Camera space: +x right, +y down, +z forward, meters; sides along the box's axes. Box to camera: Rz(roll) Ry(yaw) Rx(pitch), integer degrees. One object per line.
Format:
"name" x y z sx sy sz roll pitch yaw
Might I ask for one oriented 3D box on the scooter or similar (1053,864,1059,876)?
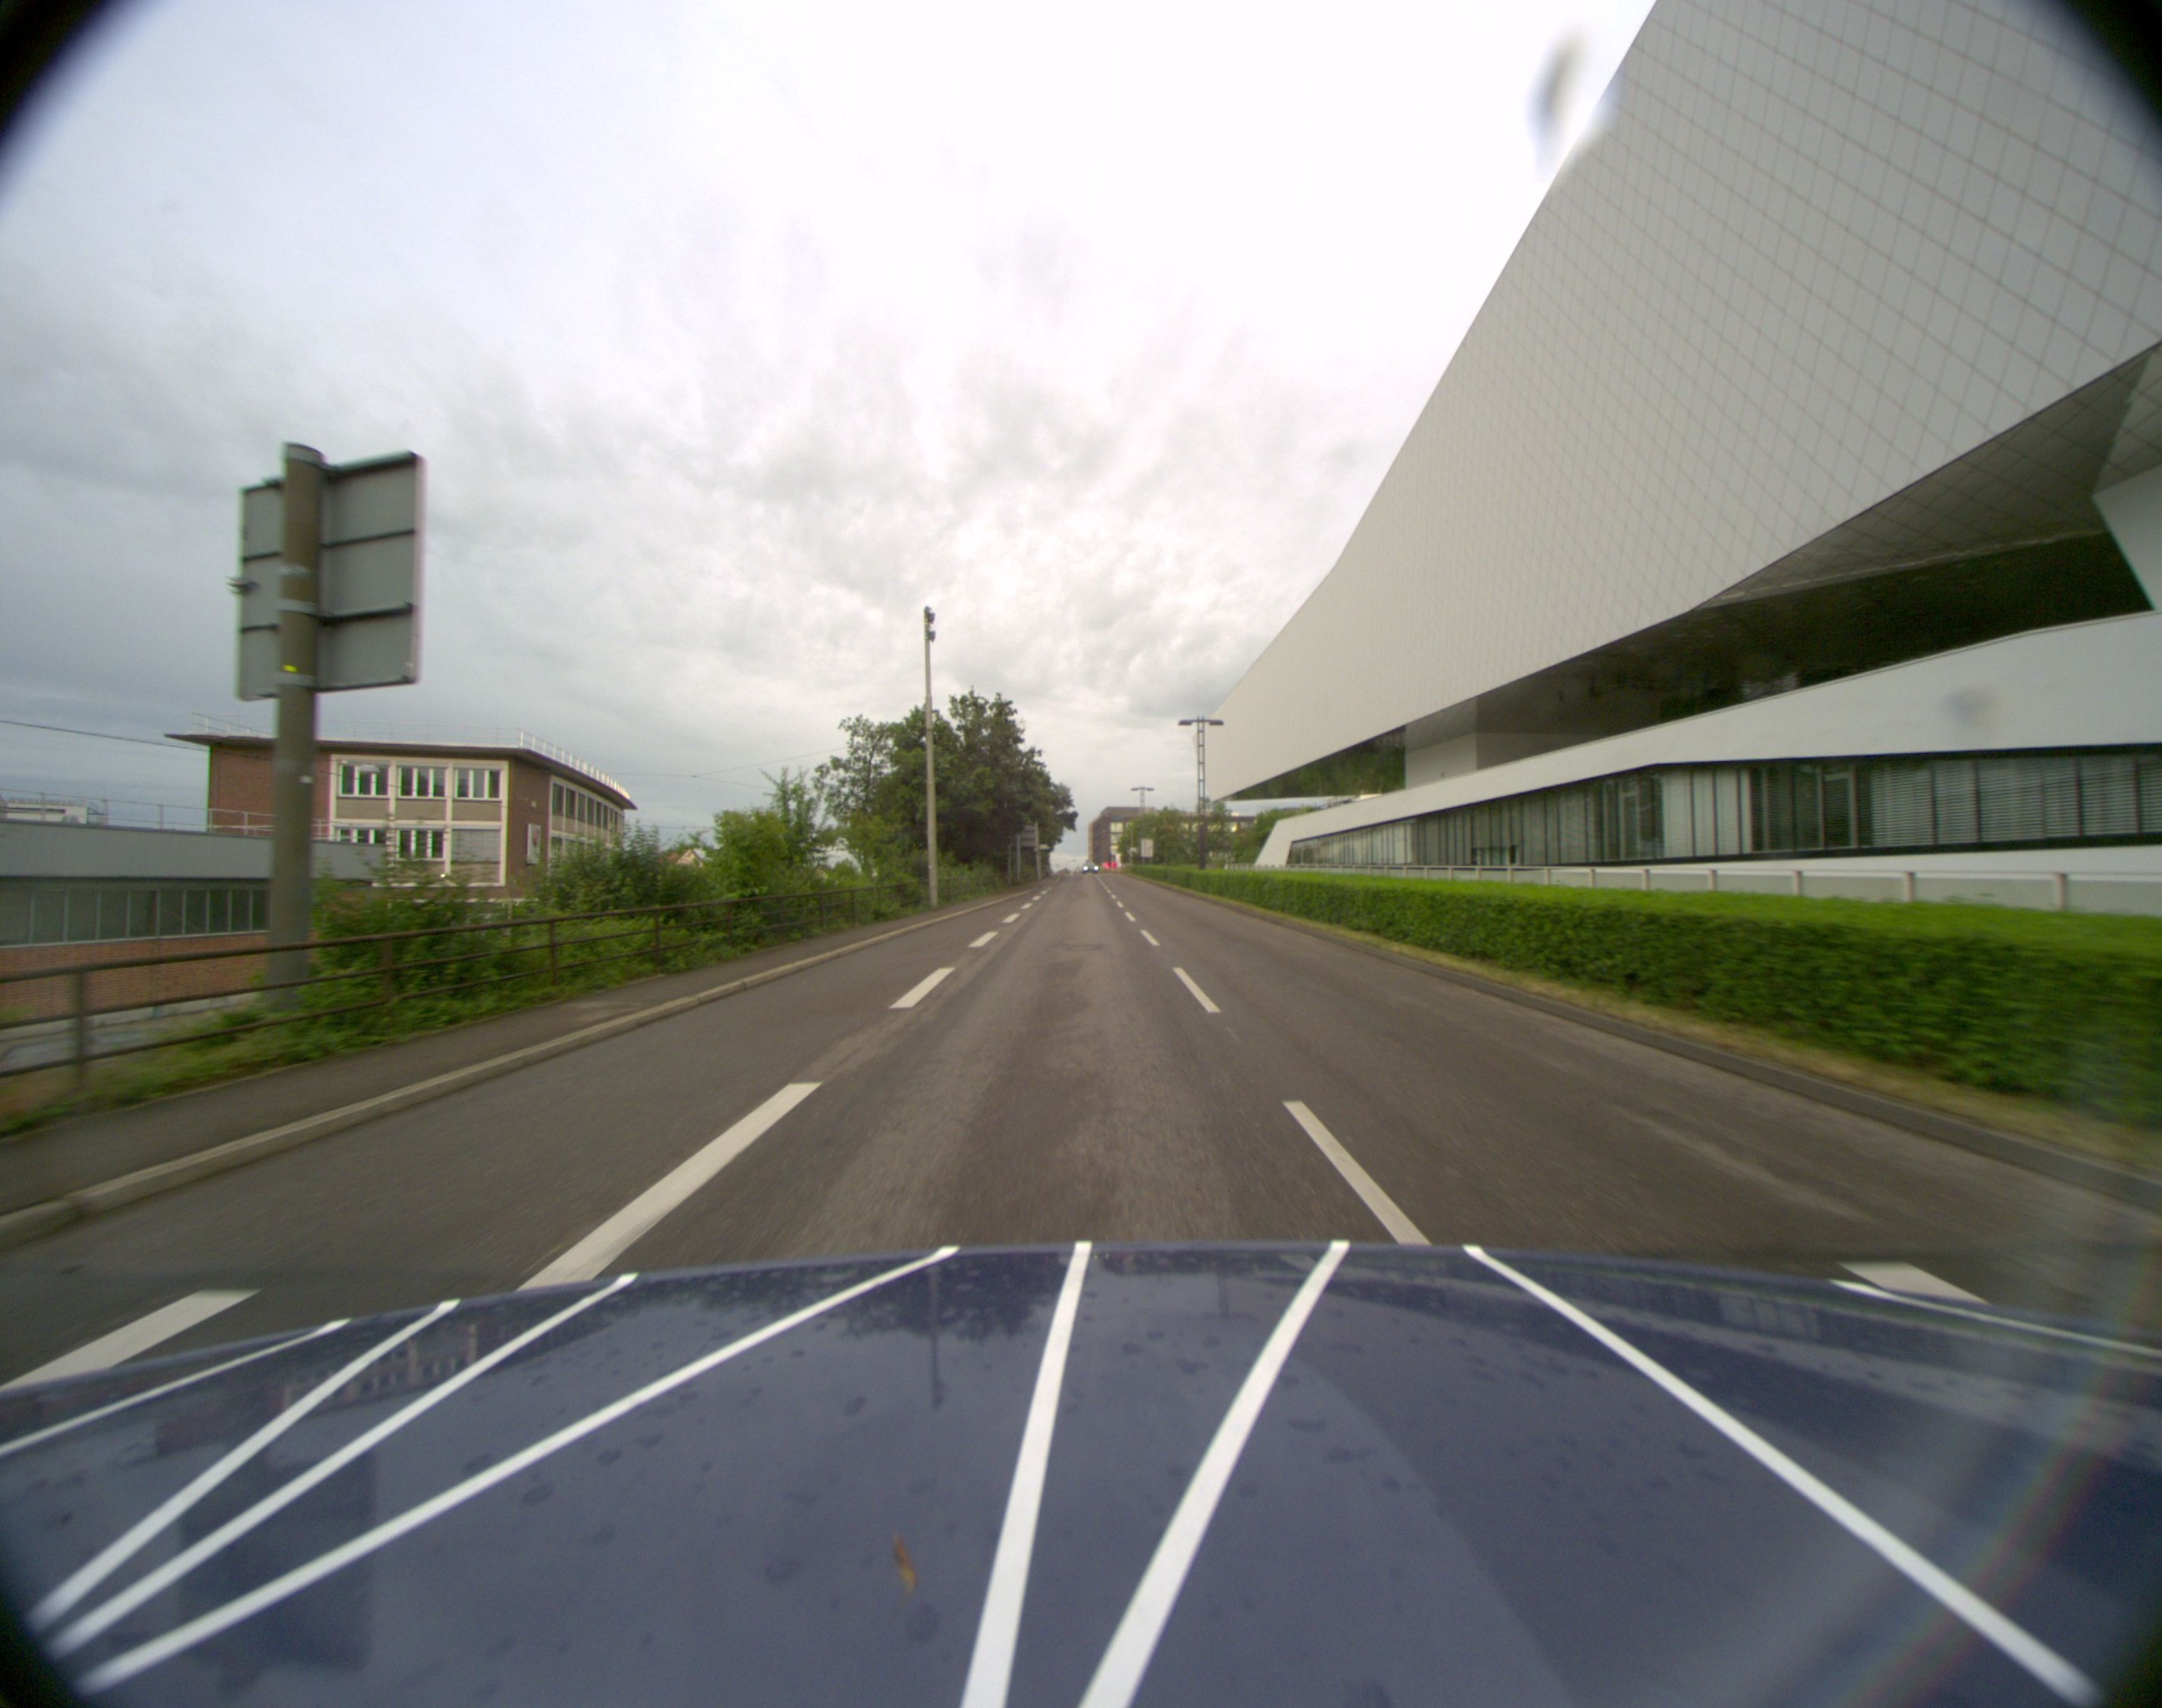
"scooter or similar" -2.542 1.621 77.565 0.574 1.201 1.468 -1 0 0

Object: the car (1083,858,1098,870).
"car" 1.279 1.341 103.899 1.841 1.574 4.289 -1 -1 -2

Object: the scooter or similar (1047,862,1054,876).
"scooter or similar" -2.917 1.402 72.083 0.539 1.225 1.844 -1 0 0
